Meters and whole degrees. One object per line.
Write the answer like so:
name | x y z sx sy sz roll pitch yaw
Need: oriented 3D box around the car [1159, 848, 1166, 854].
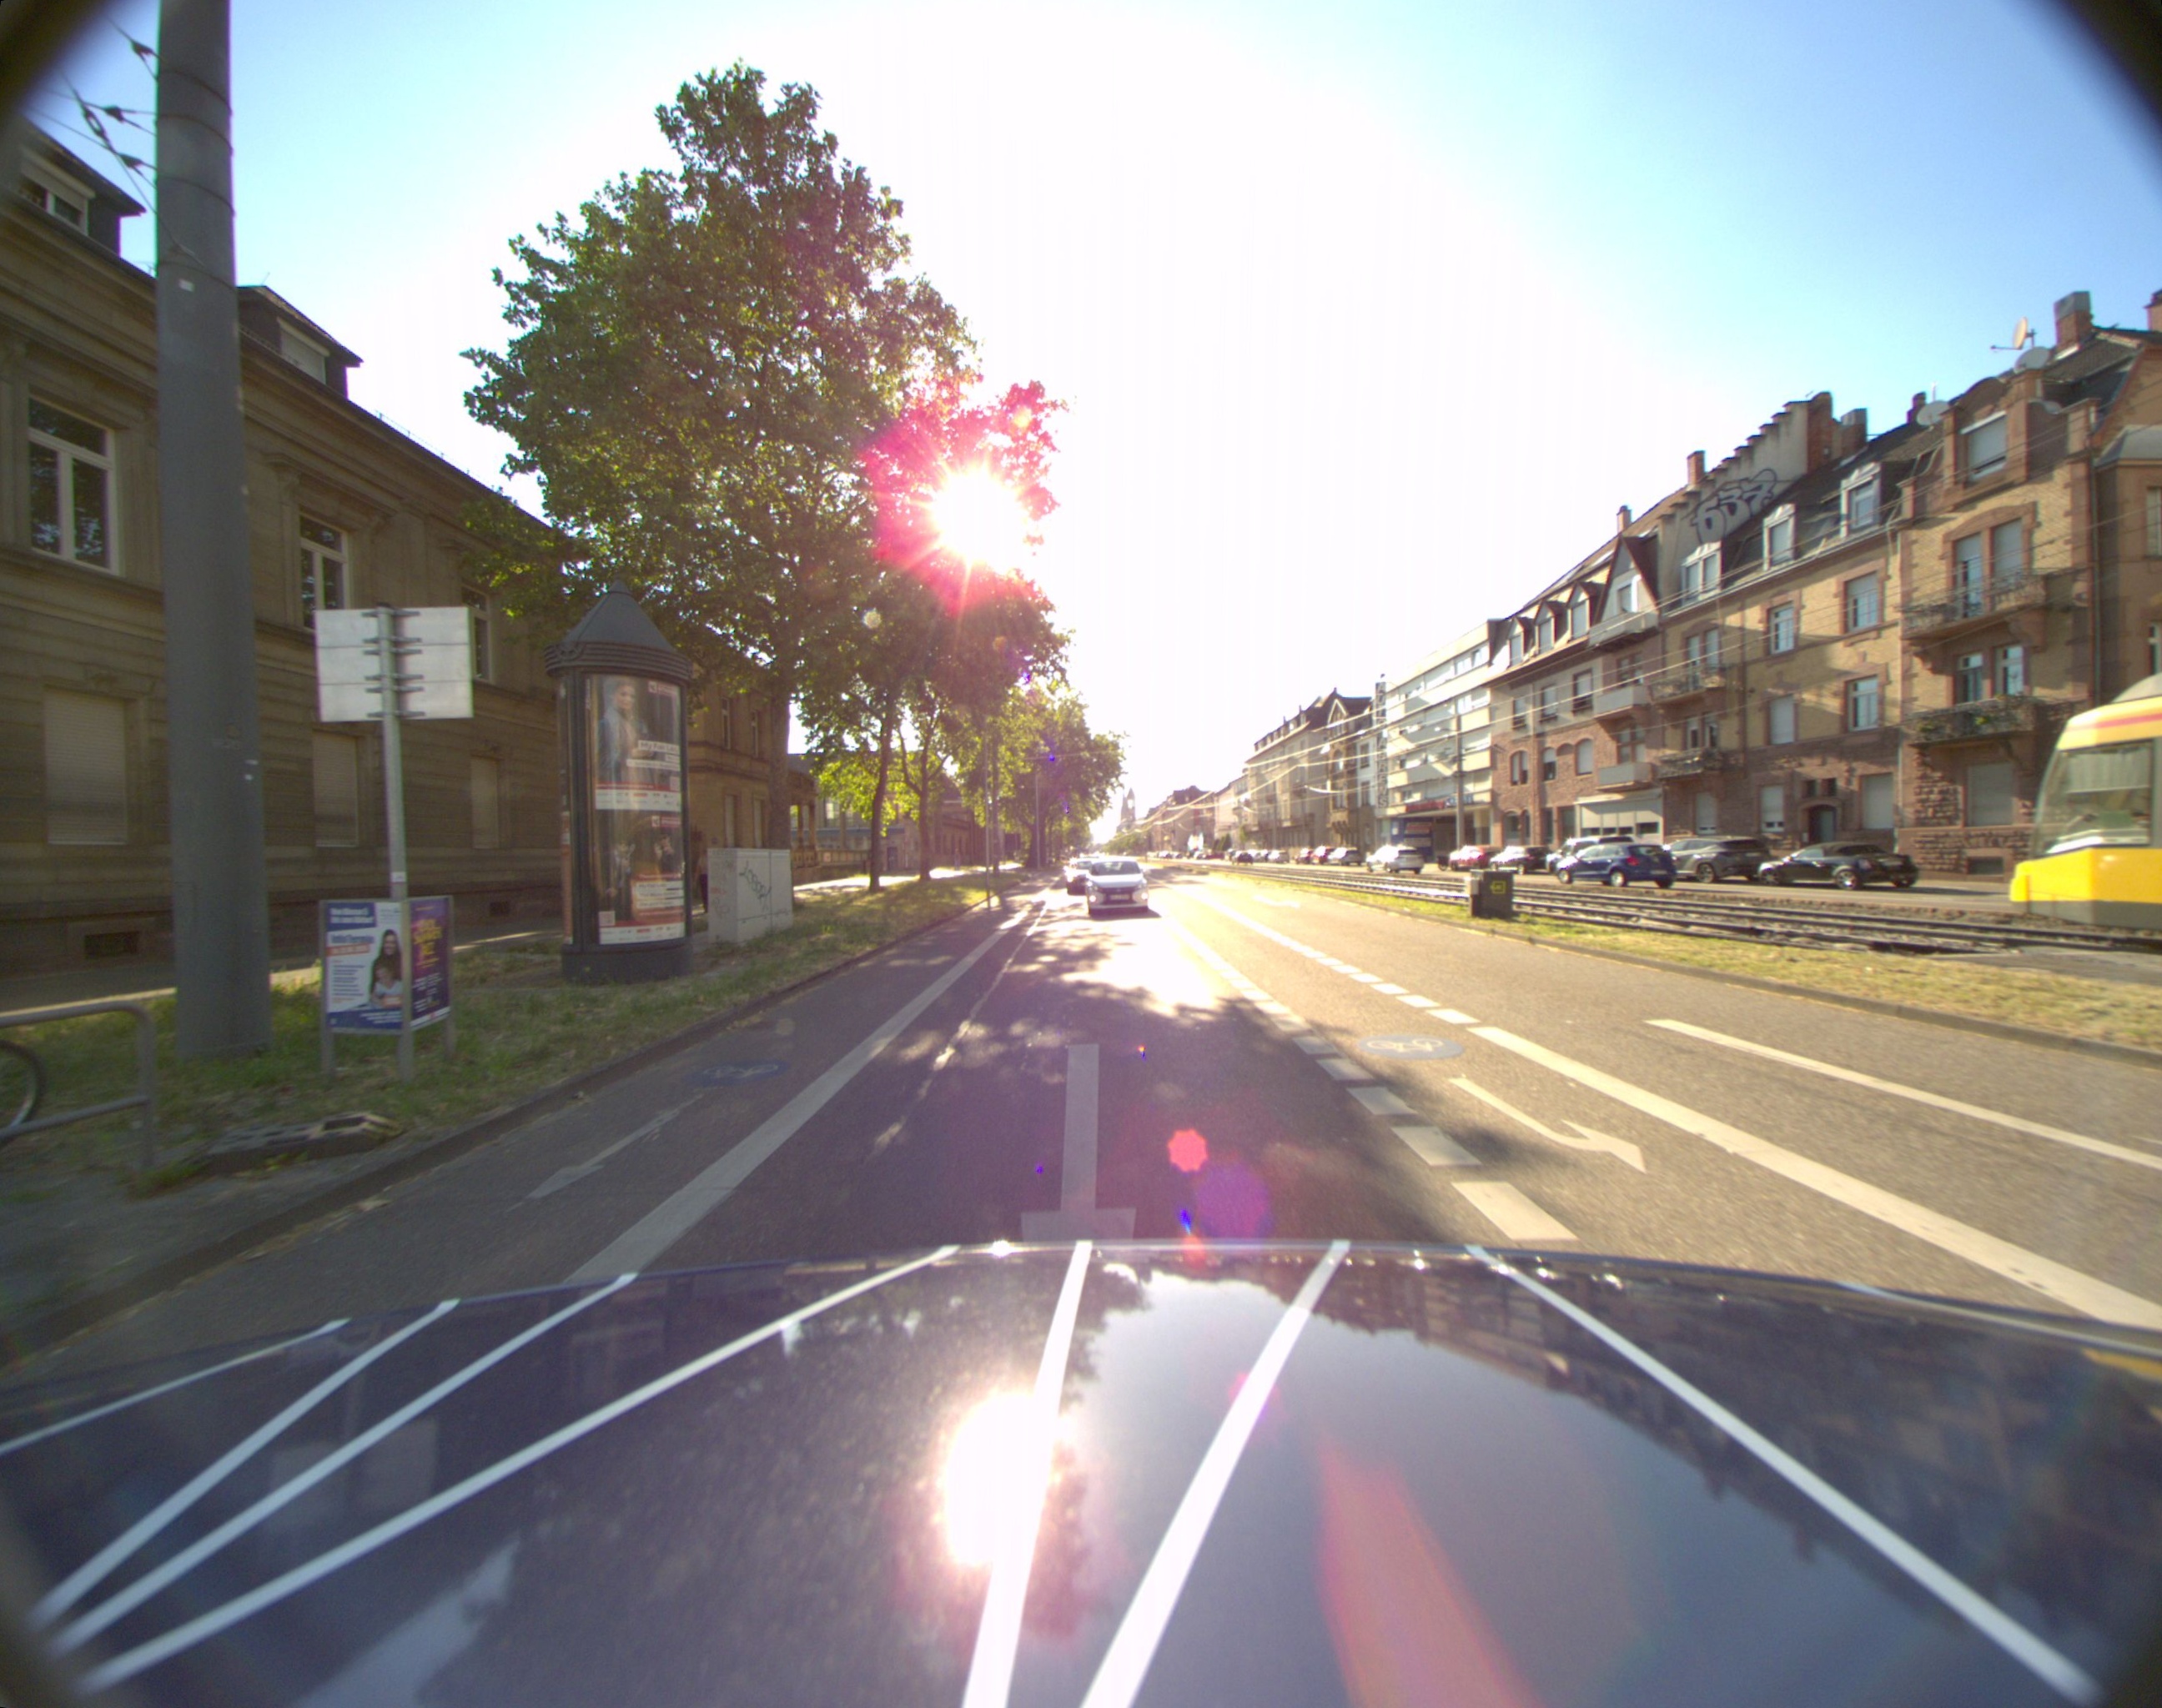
car | 23.283 -0.747 216.559 1.624 1.581 3.450 -3 1 0

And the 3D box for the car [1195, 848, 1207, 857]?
car | 23.092 -0.354 146.758 1.684 1.562 3.388 -3 1 0

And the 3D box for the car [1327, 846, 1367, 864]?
car | 23.193 0.077 66.452 1.861 1.490 4.381 -3 0 -1

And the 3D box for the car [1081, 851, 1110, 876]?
car | 0.987 0.585 51.198 1.834 1.543 4.000 -1 1 1

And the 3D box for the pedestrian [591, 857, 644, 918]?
pedestrian | -12.552 0.891 20.597 0.771 1.597 0.986 -1 1 1

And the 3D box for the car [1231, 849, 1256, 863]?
car | 17.703 0.177 83.003 1.824 1.448 4.165 -1 0 -1

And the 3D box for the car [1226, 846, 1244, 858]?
car | 23.329 -0.294 114.868 1.876 1.726 3.915 -3 0 0

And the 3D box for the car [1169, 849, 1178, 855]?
car | 22.639 -0.484 186.455 1.624 1.581 3.450 -3 1 0

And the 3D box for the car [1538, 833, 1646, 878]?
car | 22.760 0.065 34.064 1.890 1.748 4.418 -4 0 2

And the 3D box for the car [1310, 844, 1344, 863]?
car | 23.210 -0.045 71.877 1.860 1.677 4.263 -3 0 1

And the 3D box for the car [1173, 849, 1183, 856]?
car | 22.640 -0.434 177.535 1.624 1.581 3.450 -3 1 0

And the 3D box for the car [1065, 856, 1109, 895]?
car | 0.251 0.856 32.257 1.686 1.462 4.055 -3 0 0

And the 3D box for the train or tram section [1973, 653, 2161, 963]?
train or tram section | 13.538 -0.522 3.729 2.820 3.469 13.202 -1 0 0

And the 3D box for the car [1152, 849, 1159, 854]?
car | 22.561 -0.795 229.033 1.624 1.581 3.450 -3 1 0

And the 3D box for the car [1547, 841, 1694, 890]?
car | 17.562 0.335 25.023 1.825 1.448 4.156 -1 0 -1

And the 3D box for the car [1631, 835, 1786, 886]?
car | 22.828 0.218 27.917 1.861 1.613 4.502 -4 0 -1

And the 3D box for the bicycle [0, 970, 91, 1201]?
bicycle | -5.424 1.141 3.079 0.541 1.055 1.771 -1 0 -4

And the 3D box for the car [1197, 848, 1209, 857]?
car | 22.693 -0.256 141.409 1.677 1.622 3.408 -3 0 0

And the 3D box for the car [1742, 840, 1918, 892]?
car | 22.698 0.342 23.246 1.626 1.346 3.725 -4 0 -1

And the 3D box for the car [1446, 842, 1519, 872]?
car | 23.052 0.146 43.804 1.861 1.490 4.210 -4 0 -1

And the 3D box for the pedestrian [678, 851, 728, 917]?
pedestrian | -10.080 0.777 20.301 0.771 1.699 1.042 -1 1 1

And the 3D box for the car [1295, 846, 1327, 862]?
car | 23.257 -0.016 76.973 1.756 1.487 3.728 -3 0 -6

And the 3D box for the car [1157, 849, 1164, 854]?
car | 23.137 -0.756 221.415 1.624 1.581 3.450 -3 1 0

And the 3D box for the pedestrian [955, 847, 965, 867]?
pedestrian | -10.089 0.235 63.406 0.672 1.652 0.874 0 1 1

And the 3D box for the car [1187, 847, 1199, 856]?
car | 23.107 -0.580 156.832 1.727 1.776 3.880 -3 1 0

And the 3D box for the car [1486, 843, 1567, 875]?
car | 22.818 0.232 39.081 1.699 1.429 3.927 -4 0 -1

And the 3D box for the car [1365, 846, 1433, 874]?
car | 17.568 0.293 42.280 1.824 1.448 4.539 -1 0 -1

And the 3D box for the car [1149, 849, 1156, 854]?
car | 22.523 -0.767 239.858 1.624 1.581 3.450 -3 1 0

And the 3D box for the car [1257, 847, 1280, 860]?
car | 23.252 -0.052 94.226 1.802 1.422 3.822 -3 0 -2

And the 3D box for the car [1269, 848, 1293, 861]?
car | 23.350 0.061 88.938 1.802 1.471 3.823 -3 0 0

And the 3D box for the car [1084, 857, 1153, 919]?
car | 0.979 0.883 21.483 1.686 1.462 4.055 -3 0 0

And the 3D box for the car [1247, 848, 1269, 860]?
car | 22.871 -0.046 98.376 1.642 1.438 3.537 -3 0 -7

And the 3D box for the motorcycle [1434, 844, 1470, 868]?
motorcycle | 23.233 0.139 47.574 1.860 1.413 0.629 -4 0 0
